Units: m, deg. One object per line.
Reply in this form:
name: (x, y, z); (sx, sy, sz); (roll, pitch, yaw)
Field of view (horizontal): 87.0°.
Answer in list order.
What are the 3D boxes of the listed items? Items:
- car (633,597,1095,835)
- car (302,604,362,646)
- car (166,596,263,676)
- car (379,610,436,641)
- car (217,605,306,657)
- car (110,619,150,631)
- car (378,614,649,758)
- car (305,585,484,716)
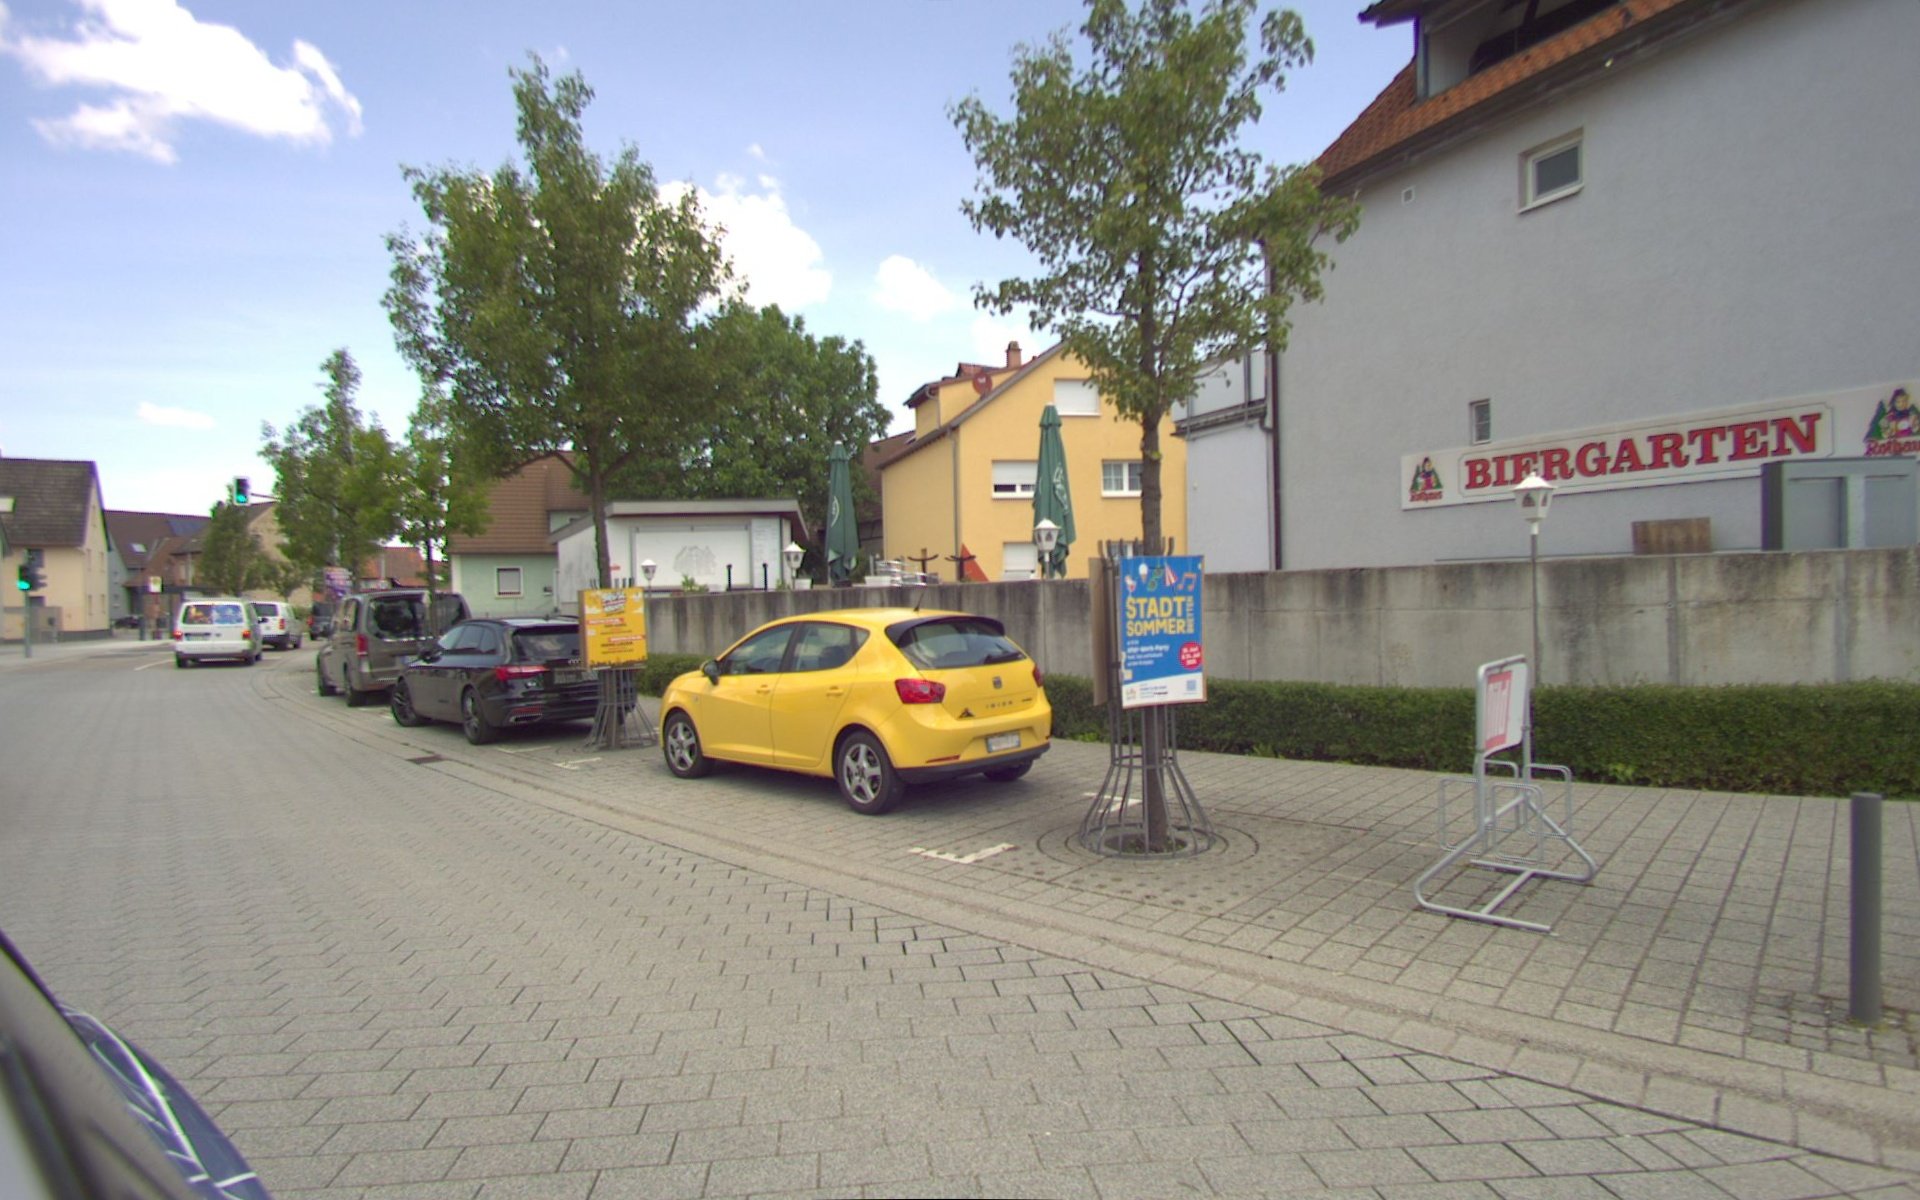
car: (-0.978, 0.762, 8.377); (3.965, 1.486, 1.649); (-1, 0, 45)
car: (-32.276, 1.243, 52.109); (1.636, 2.029, 4.012); (-1, 0, -18)
car: (-22.601, 1.039, 30.865); (1.861, 2.202, 5.045); (-1, 0, -31)
car: (-29.156, 1.303, 53.513); (1.709, 1.502, 4.513); (-1, 0, -16)
car: (-27.713, 1.173, 40.314); (1.965, 1.894, 4.882); (-1, 0, -23)
car: (-81.190, 2.447, 99.017); (3.984, 1.068, 1.785); (-1, 0, 30)
car: (-5.782, 0.939, 12.777); (1.794, 1.434, 4.543); (-1, 0, -42)
car: (-10.362, 0.818, 18.343); (1.961, 2.005, 5.053); (-1, 0, -39)
